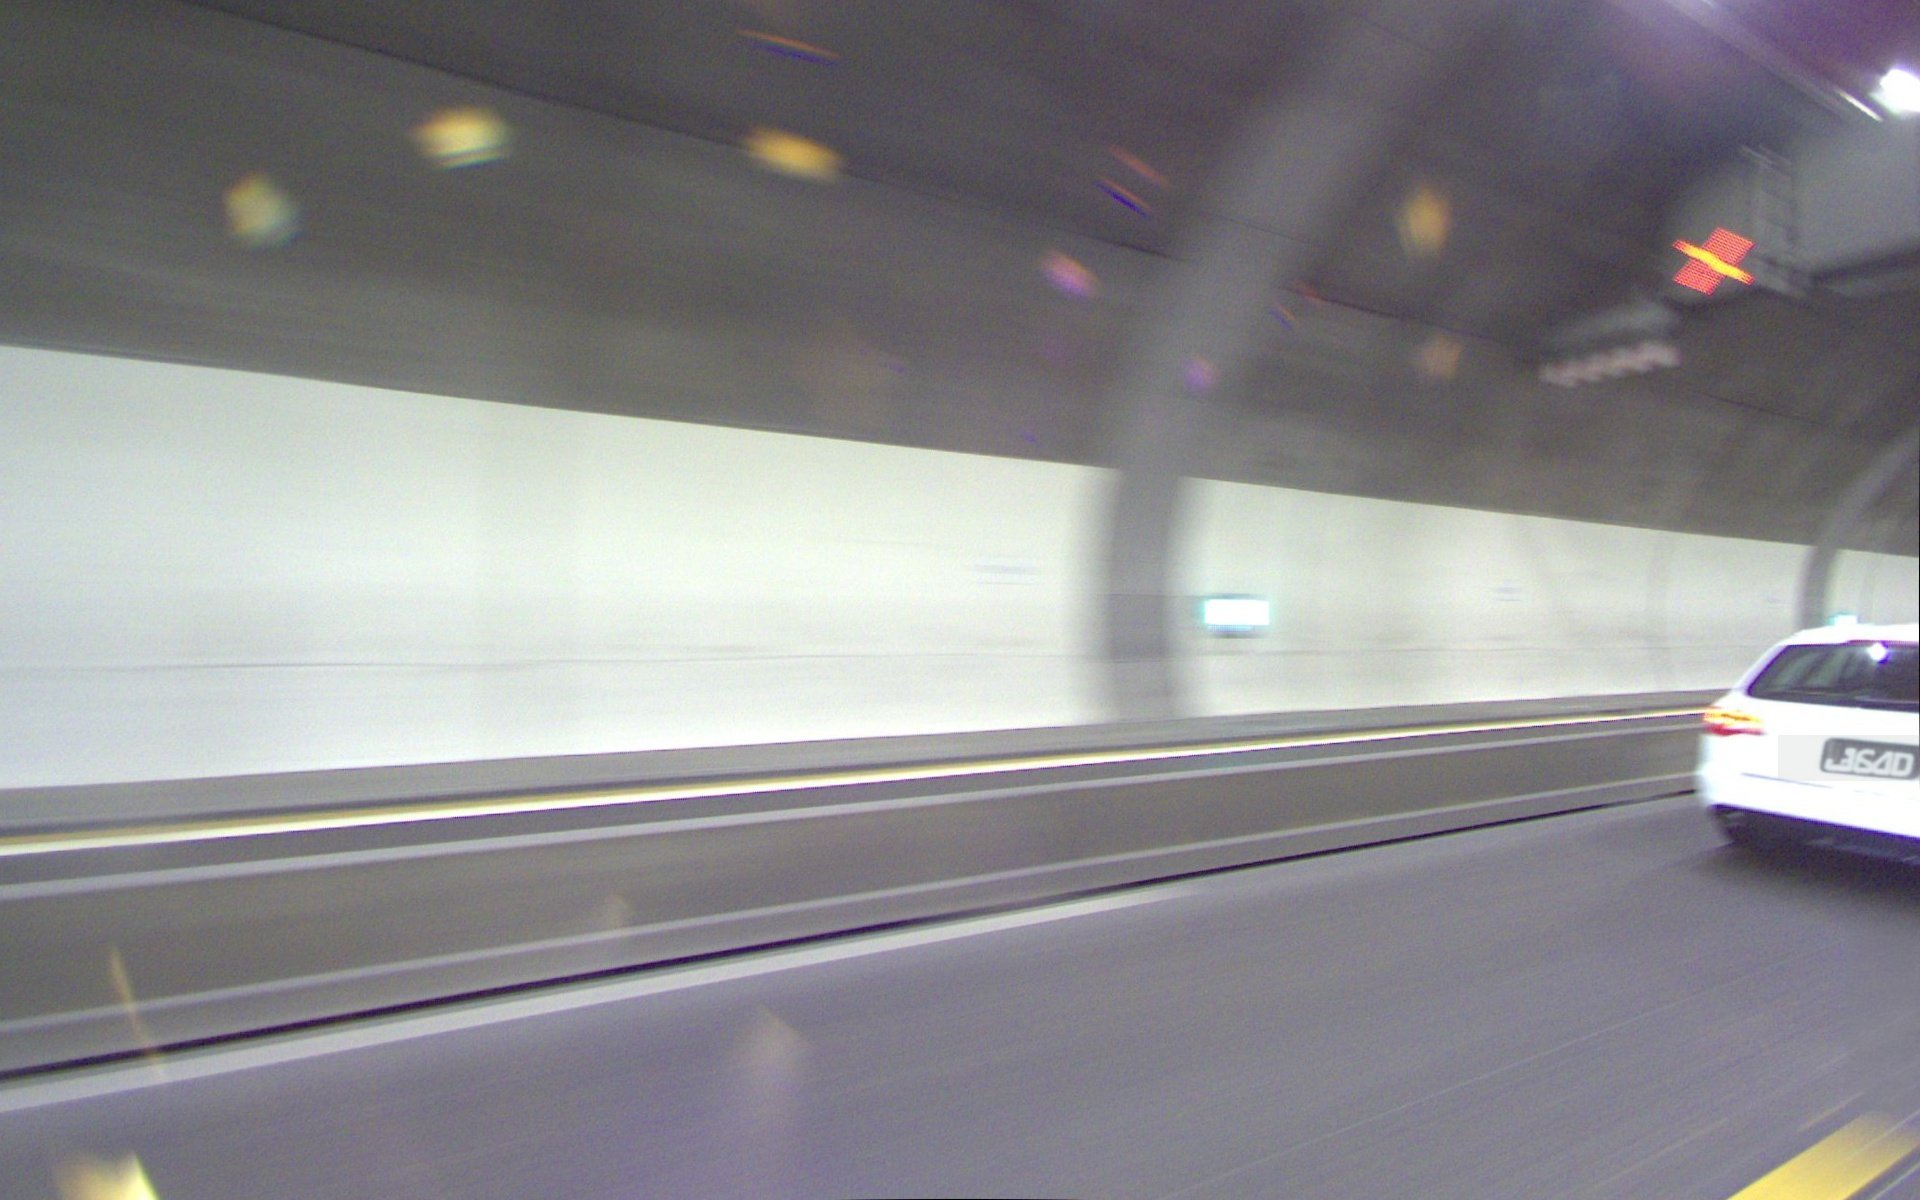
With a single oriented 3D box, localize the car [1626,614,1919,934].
[{"bbox_3d":[6.503,0.907,6.371,4.887,1.504,1.894,2,-1,-31],"label":"car"}]
